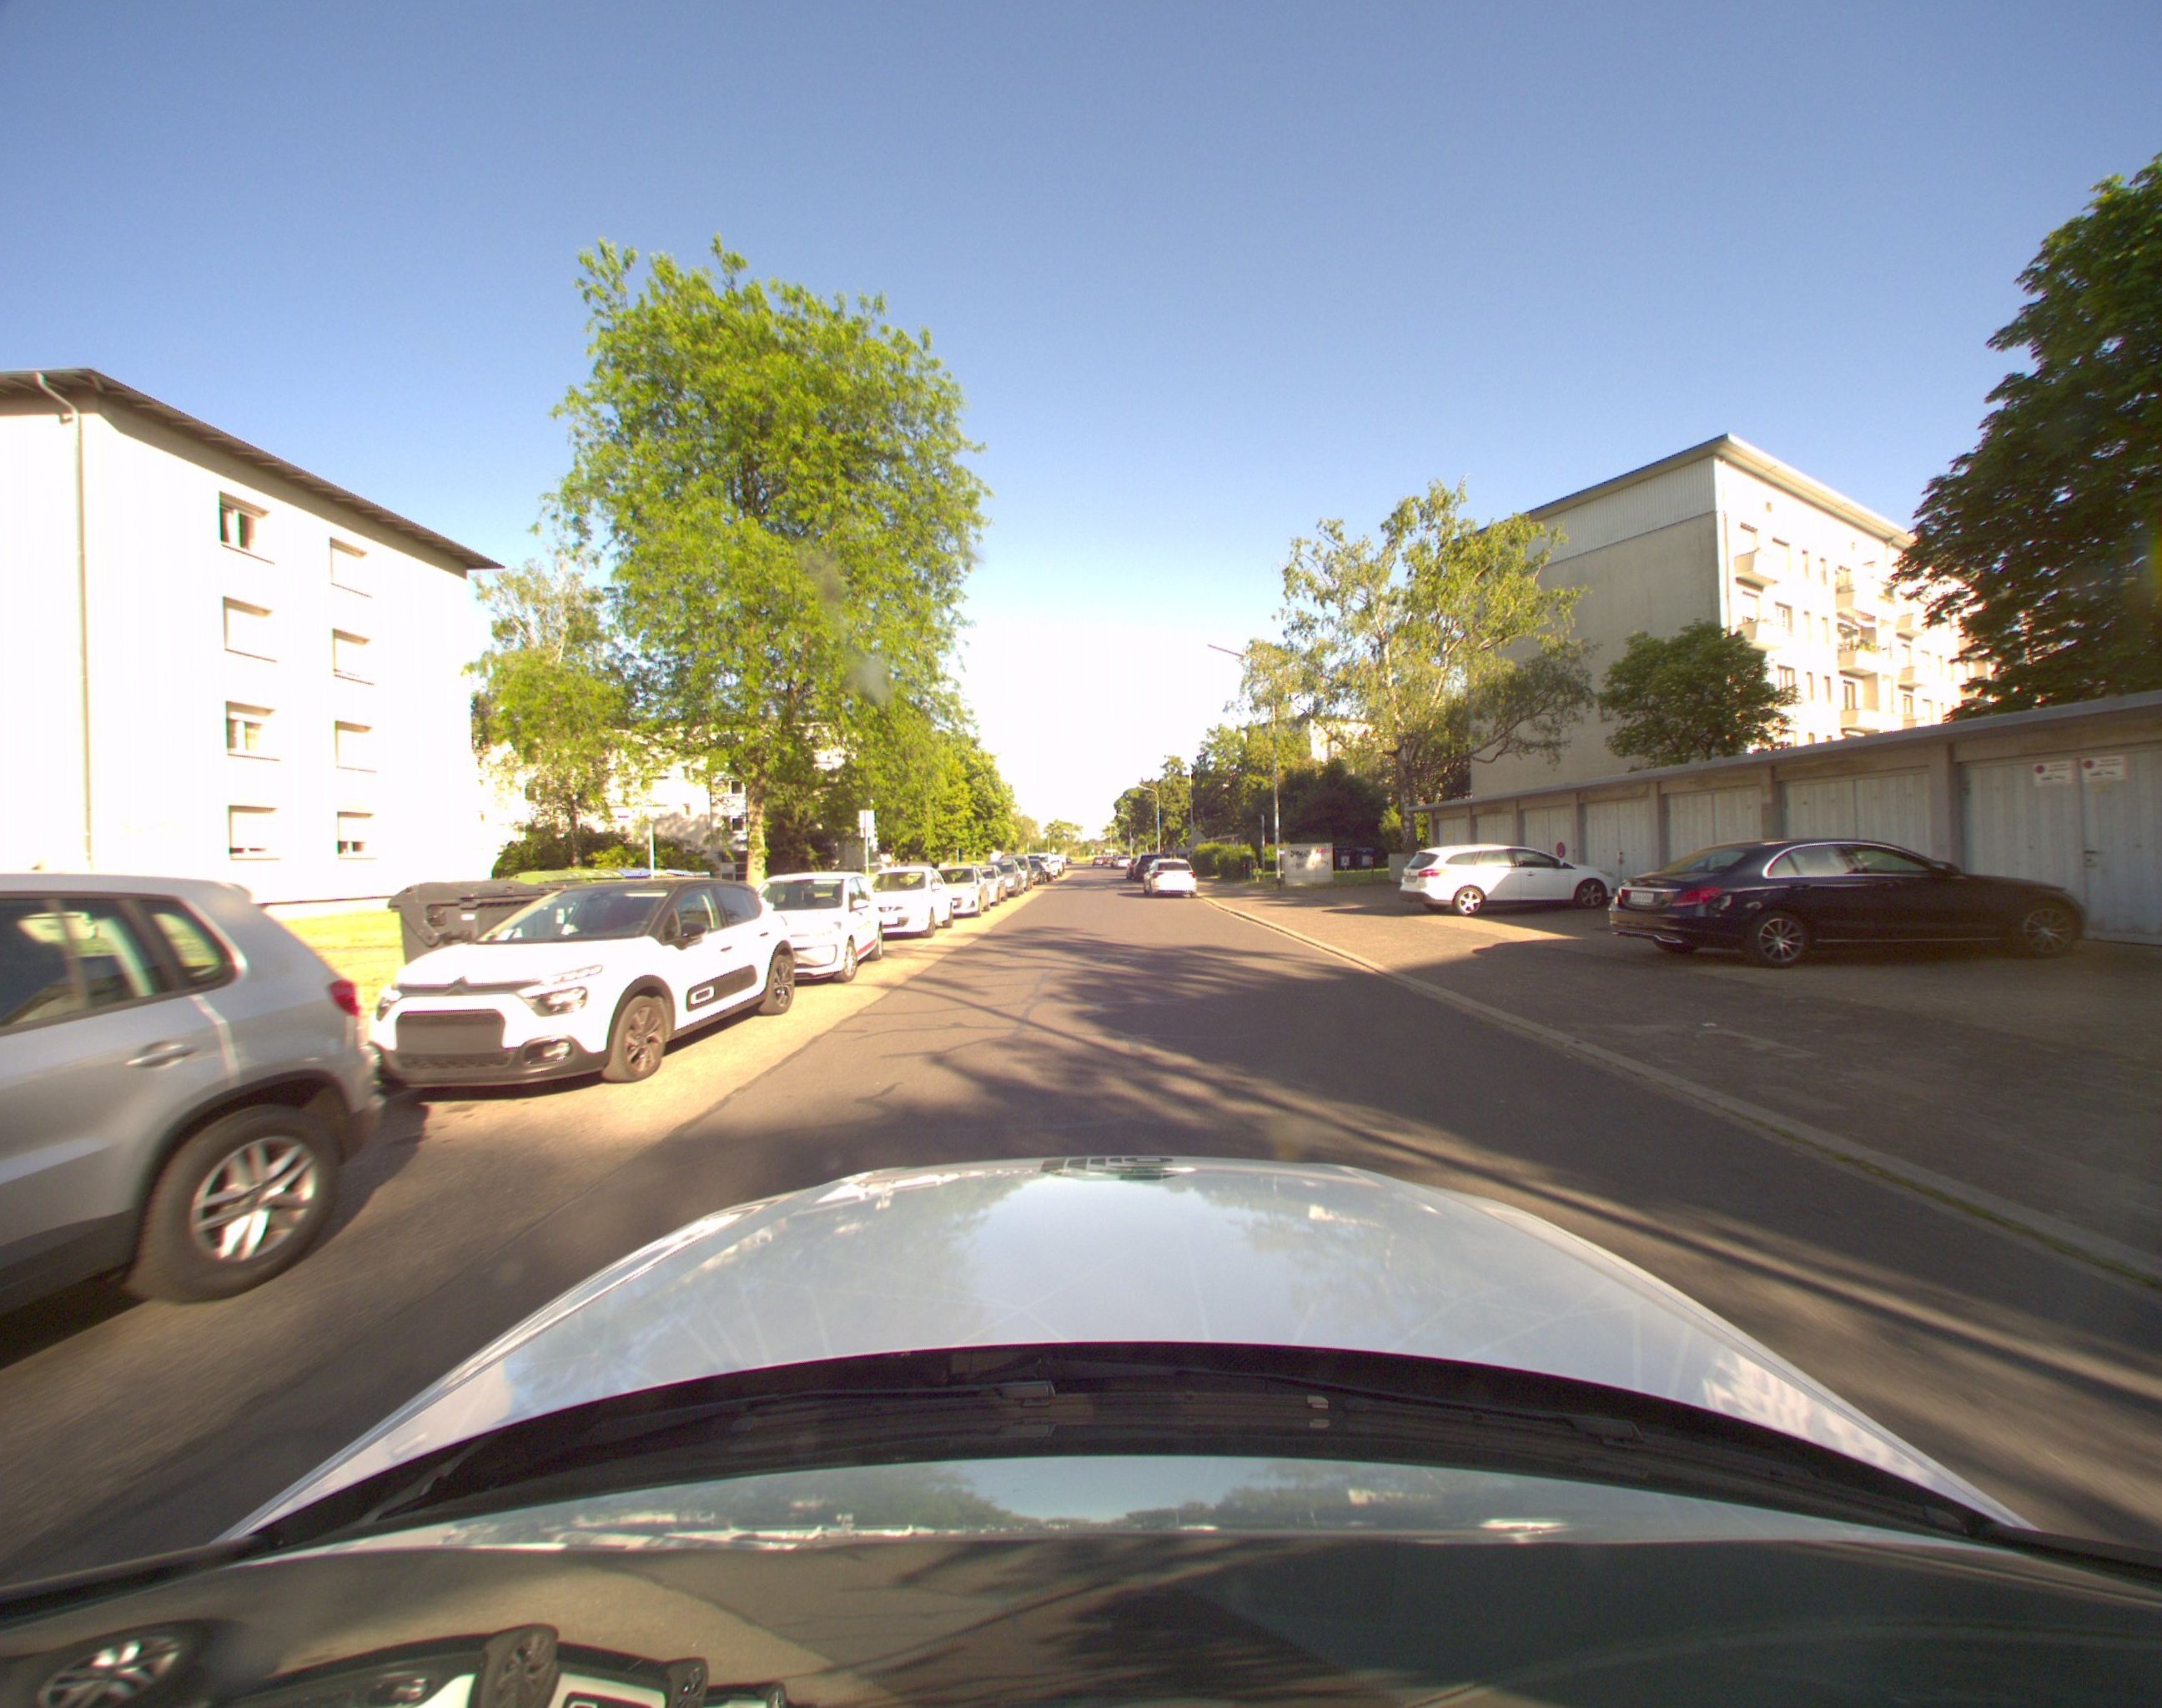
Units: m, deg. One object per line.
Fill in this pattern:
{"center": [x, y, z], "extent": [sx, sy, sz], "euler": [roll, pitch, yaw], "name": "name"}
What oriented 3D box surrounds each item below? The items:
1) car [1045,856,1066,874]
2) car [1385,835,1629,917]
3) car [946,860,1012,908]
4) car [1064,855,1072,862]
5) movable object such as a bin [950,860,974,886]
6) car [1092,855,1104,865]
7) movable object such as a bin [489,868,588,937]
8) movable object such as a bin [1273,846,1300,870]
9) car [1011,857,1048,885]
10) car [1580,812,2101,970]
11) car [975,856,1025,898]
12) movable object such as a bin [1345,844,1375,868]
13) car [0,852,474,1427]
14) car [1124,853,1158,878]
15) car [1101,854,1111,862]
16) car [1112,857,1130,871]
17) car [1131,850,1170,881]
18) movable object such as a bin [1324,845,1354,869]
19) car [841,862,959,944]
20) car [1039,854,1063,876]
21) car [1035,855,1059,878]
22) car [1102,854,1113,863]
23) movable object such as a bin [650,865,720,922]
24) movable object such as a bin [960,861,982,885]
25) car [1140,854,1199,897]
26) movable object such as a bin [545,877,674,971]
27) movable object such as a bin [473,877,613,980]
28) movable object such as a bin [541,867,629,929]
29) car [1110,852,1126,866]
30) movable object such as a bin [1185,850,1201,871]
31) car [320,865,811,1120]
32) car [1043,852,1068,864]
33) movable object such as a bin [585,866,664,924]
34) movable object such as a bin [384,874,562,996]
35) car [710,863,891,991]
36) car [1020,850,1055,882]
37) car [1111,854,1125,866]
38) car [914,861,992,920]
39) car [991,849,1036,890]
{"center": [-2.468, 1.022, 79.961], "extent": [1.740, 1.613, 4.308], "euler": [-3, 0, 1], "name": "car"}
{"center": [9.300, 0.458, 18.055], "extent": [4.399, 1.513, 1.829], "euler": [-3, 0, 1], "name": "car"}
{"center": [-3.640, 1.028, 29.811], "extent": [1.681, 1.465, 4.525], "euler": [-4, 0, 0], "name": "car"}
{"center": [-2.881, 0.928, 185.900], "extent": [1.791, 1.561, 3.949], "euler": [-1, 0, -1], "name": "car"}
{"center": [-6.793, 1.081, 46.609], "extent": [1.097, 1.421, 1.361], "euler": [1, 0, 1], "name": "movable object such as a bin"}
{"center": [2.660, 0.894, 128.377], "extent": [1.675, 1.513, 4.102], "euler": [0, 0, -1], "name": "car"}
{"center": [-12.009, 1.050, 18.091], "extent": [1.173, 1.420, 1.463], "euler": [1, 0, 3], "name": "movable object such as a bin"}
{"center": [12.096, 0.238, 47.991], "extent": [1.250, 1.353, 1.279], "euler": [-1, 0, 0], "name": "movable object such as a bin"}
{"center": [-3.118, 1.002, 50.138], "extent": [1.739, 1.533, 4.142], "euler": [-3, 0, 3], "name": "car"}
{"center": [8.871, 0.410, 9.849], "extent": [4.496, 1.513, 1.830], "euler": [-3, 0, 2], "name": "car"}
{"center": [-3.454, 0.950, 35.292], "extent": [1.704, 1.600, 3.984], "euler": [-4, 0, -1], "name": "car"}
{"center": [16.617, 0.125, 48.532], "extent": [1.255, 1.353, 1.275], "euler": [-1, 0, -10], "name": "movable object such as a bin"}
{"center": [-4.073, 0.861, 1.920], "extent": [1.896, 1.639, 4.349], "euler": [-3, 0, 1], "name": "car"}
{"center": [3.877, 0.727, 53.150], "extent": [1.901, 1.531, 4.328], "euler": [-1, 0, 1], "name": "car"}
{"center": [4.791, 0.750, 156.168], "extent": [1.791, 1.643, 3.949], "euler": [-1, 0, -1], "name": "car"}
{"center": [4.579, 1.122, 93.305], "extent": [1.791, 1.561, 3.949], "euler": [-1, 0, -1], "name": "car"}
{"center": [3.981, 0.648, 47.299], "extent": [1.901, 1.639, 4.629], "euler": [-1, 0, 1], "name": "car"}
{"center": [15.185, 0.156, 48.015], "extent": [1.254, 1.353, 1.275], "euler": [-1, 0, -8], "name": "movable object such as a bin"}
{"center": [-3.930, 1.001, 18.301], "extent": [1.681, 1.535, 3.890], "euler": [-3, 0, 0], "name": "car"}
{"center": [-2.530, 0.904, 70.246], "extent": [1.740, 1.732, 4.006], "euler": [-3, 0, 1], "name": "car"}
{"center": [-2.699, 0.994, 64.640], "extent": [1.742, 1.669, 4.375], "euler": [-3, 0, -2], "name": "car"}
{"center": [4.874, 0.840, 148.739], "extent": [1.791, 1.548, 3.949], "euler": [-1, 0, -1], "name": "car"}
{"center": [-10.575, 1.032, 21.802], "extent": [1.130, 1.421, 1.361], "euler": [1, 0, 2], "name": "movable object such as a bin"}
{"center": [-6.678, 1.145, 49.440], "extent": [1.097, 1.356, 1.361], "euler": [1, 0, 1], "name": "movable object such as a bin"}
{"center": [3.333, 0.772, 31.289], "extent": [1.748, 1.513, 4.102], "euler": [0, 0, -1], "name": "car"}
{"center": [-7.300, 1.050, 12.706], "extent": [1.173, 1.340, 1.344], "euler": [1, 0, 2], "name": "movable object such as a bin"}
{"center": [-7.684, 1.031, 11.704], "extent": [1.132, 1.358, 1.244], "euler": [1, 0, 2], "name": "movable object such as a bin"}
{"center": [-11.969, 1.039, 19.713], "extent": [1.173, 1.420, 1.463], "euler": [1, 0, 3], "name": "movable object such as a bin"}
{"center": [4.960, 0.626, 109.281], "extent": [1.791, 1.786, 3.949], "euler": [-1, 0, -1], "name": "car"}
{"center": [8.036, 0.494, 58.456], "extent": [0.914, 1.454, 1.233], "euler": [-2, 0, 1], "name": "movable object such as a bin"}
{"center": [-3.978, 0.918, 7.213], "extent": [1.656, 1.513, 3.947], "euler": [-3, 0, 2], "name": "car"}
{"center": [-4.201, 0.660, 135.651], "extent": [4.046, 1.992, 1.799], "euler": [-1, 0, -4], "name": "car"}
{"center": [-11.874, 1.050, 21.233], "extent": [1.173, 1.420, 1.463], "euler": [1, 0, 3], "name": "movable object such as a bin"}
{"center": [-7.648, 0.970, 10.347], "extent": [1.132, 1.382, 1.442], "euler": [1, 0, 2], "name": "movable object such as a bin"}
{"center": [-3.962, 0.941, 12.095], "extent": [1.660, 1.513, 3.531], "euler": [-3, 0, -5], "name": "car"}
{"center": [-2.954, 0.801, 56.364], "extent": [1.908, 1.962, 5.089], "euler": [-3, 0, 1], "name": "car"}
{"center": [5.161, 0.793, 113.880], "extent": [1.791, 1.643, 3.949], "euler": [-1, 0, -1], "name": "car"}
{"center": [-3.714, 1.025, 24.260], "extent": [1.681, 1.505, 3.816], "euler": [-2, 0, -1], "name": "car"}
{"center": [-3.362, 0.745, 41.059], "extent": [1.849, 1.892, 4.416], "euler": [-3, 0, -1], "name": "car"}
